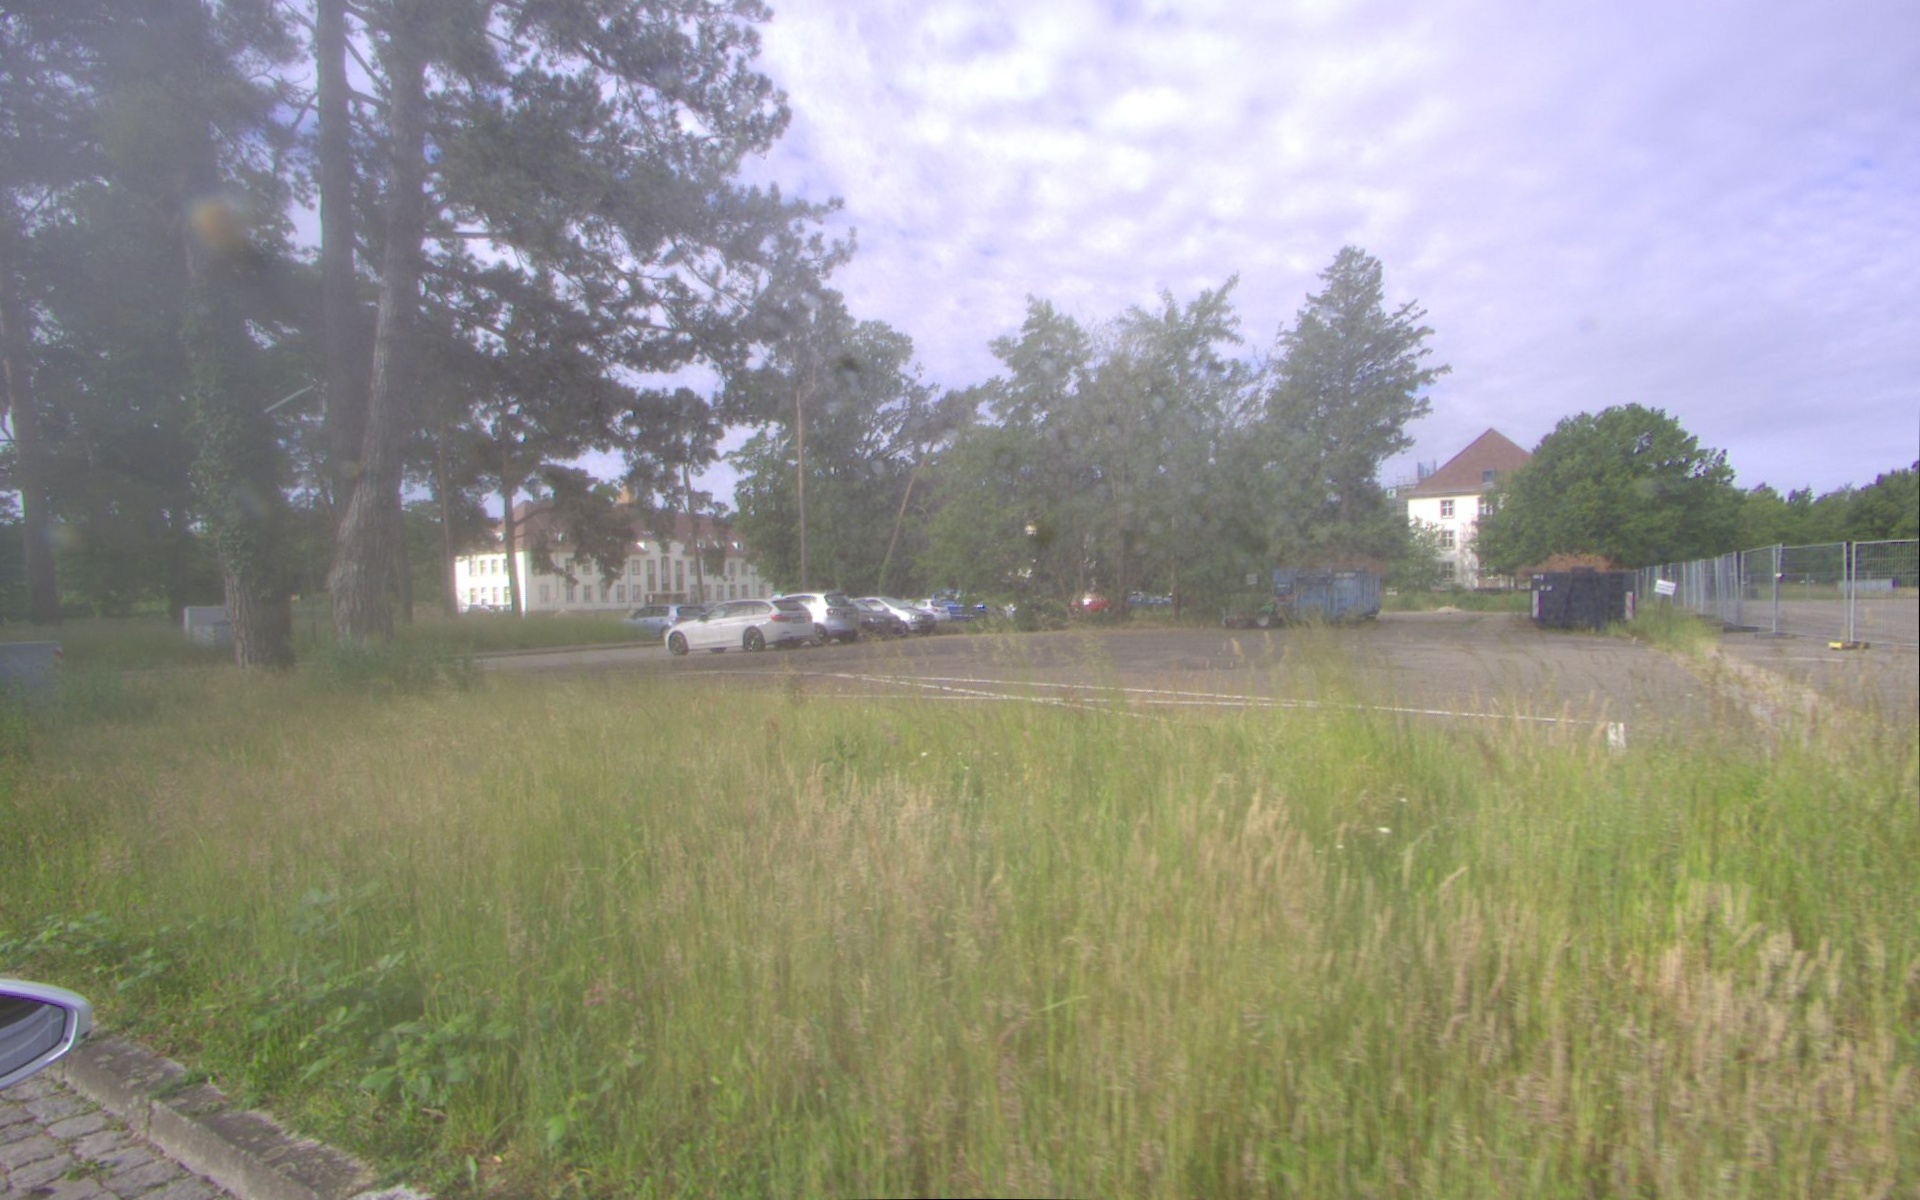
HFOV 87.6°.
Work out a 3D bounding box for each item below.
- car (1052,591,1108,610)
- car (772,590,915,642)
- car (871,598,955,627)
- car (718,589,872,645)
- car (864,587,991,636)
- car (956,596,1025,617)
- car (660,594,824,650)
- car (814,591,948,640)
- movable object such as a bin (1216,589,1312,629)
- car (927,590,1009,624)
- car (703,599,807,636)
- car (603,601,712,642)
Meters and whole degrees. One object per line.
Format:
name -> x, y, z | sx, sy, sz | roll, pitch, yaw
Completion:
car -> 9.209, 0.052, 76.834 | 3.936, 1.373, 1.656 | -1, 1, 26
car -> -3.819, 0.510, 32.665 | 4.379, 1.598, 1.864 | -1, 1, 29
car -> -2.642, 0.690, 55.705 | 4.379, 1.544, 1.750 | -1, 1, 29
car -> -4.993, 0.504, 30.234 | 4.379, 1.598, 1.864 | -1, 1, 29
car -> -1.224, 0.433, 37.337 | 4.379, 1.709, 1.864 | -1, 1, 29
car -> 1.865, 0.422, 62.063 | 3.941, 1.226, 1.654 | -1, 1, 30
car -> -6.098, 0.622, 27.885 | 4.380, 1.434, 1.750 | -2, 0, 29
car -> -2.781, 0.547, 35.232 | 4.379, 1.598, 1.864 | -1, 1, 29
movable object such as a bin -> 8.824, 0.244, 29.114 | 2.505, 1.098, 1.060 | 1, 2, 30
car -> 0.454, 0.424, 59.819 | 4.586, 1.994, 1.750 | -1, 1, 29
car -> -9.067, 0.753, 44.243 | 4.379, 1.544, 1.750 | -1, 1, 29
car -> -12.156, 0.859, 40.168 | 4.385, 1.544, 1.748 | -1, 1, 33
